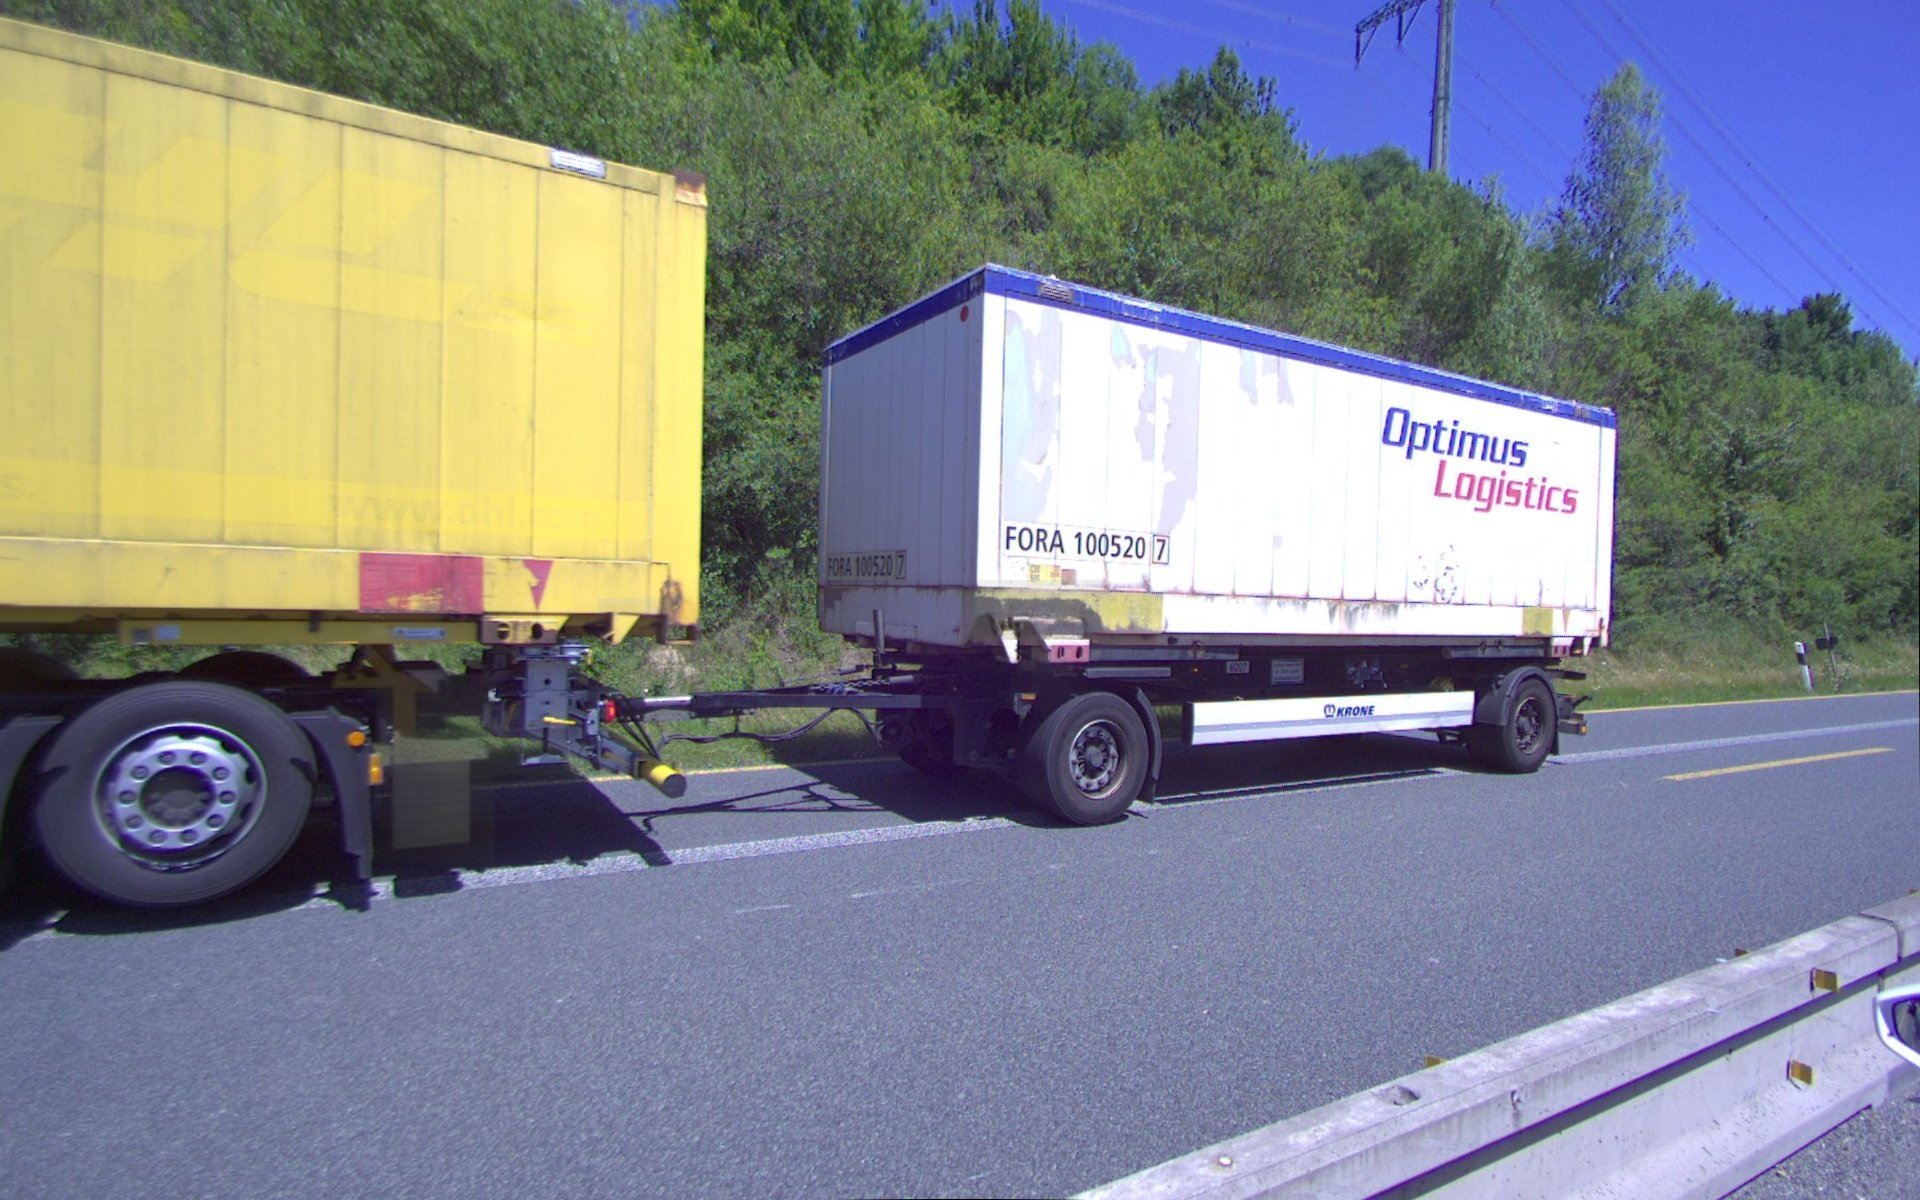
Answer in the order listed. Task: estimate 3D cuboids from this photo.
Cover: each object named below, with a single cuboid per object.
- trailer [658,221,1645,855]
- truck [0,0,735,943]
[{"bbox_3d":[2.177,-0.288,8.753,8.814,3.381,2.637,1,2,-30],"label":"trailer"},{"bbox_3d":[-5.973,-0.804,3.916,9.537,4.046,2.636,1,2,-30],"label":"truck"}]
